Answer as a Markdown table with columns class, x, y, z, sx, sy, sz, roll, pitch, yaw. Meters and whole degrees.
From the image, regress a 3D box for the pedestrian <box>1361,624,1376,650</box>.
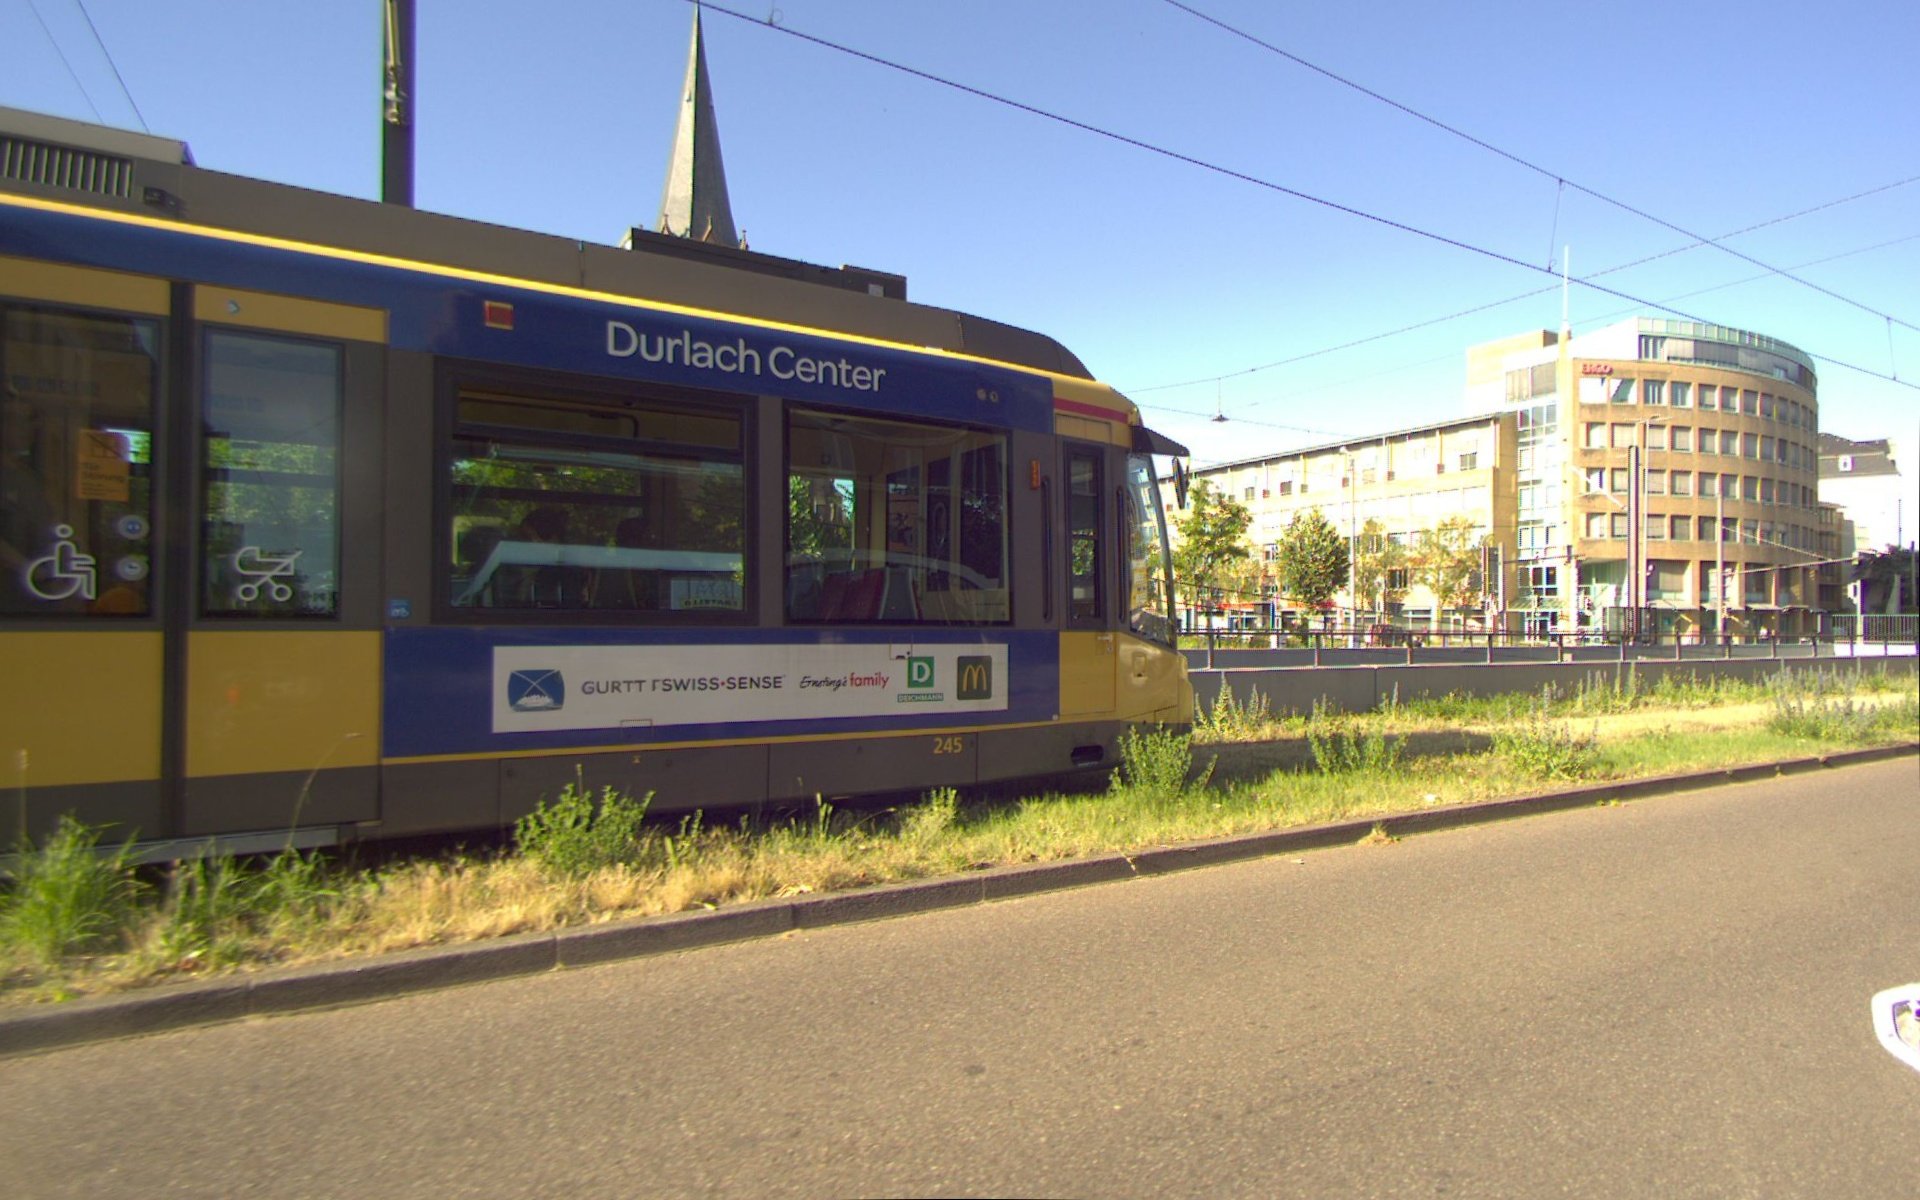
| class | x | y | z | sx | sy | sz | roll | pitch | yaw |
| --- | --- | --- | --- | --- | --- | --- | --- | --- | --- |
| pedestrian | 23.335 | 2.116 | 57.340 | 0.484 | 1.448 | 0.609 | 1 | 1 | -30 |

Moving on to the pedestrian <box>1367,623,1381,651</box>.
| class | x | y | z | sx | sy | sz | roll | pitch | yaw |
| --- | --- | --- | --- | --- | --- | --- | --- | --- | --- |
| pedestrian | 23.331 | 2.059 | 56.582 | 0.561 | 1.552 | 0.440 | 1 | 1 | -30 |

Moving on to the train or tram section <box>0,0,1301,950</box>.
| class | x | y | z | sx | sy | sz | roll | pitch | yaw |
| --- | --- | --- | --- | --- | --- | --- | --- | --- | --- |
| train or tram section | -2.755 | -0.586 | 6.217 | 10.678 | 3.949 | 2.938 | 1 | 1 | -31 |

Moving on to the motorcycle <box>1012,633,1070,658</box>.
| class | x | y | z | sx | sy | sz | roll | pitch | yaw |
| --- | --- | --- | --- | --- | --- | --- | --- | --- | --- |
| motorcycle | 2.919 | 1.645 | 36.087 | 2.118 | 0.861 | 0.511 | 1 | 1 | -29 |

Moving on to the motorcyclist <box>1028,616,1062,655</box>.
| class | x | y | z | sx | sy | sz | roll | pitch | yaw |
| --- | --- | --- | --- | --- | --- | --- | --- | --- | --- |
| motorcyclist | 3.045 | 1.278 | 36.147 | 0.863 | 1.355 | 0.879 | 1 | 1 | -29 |
